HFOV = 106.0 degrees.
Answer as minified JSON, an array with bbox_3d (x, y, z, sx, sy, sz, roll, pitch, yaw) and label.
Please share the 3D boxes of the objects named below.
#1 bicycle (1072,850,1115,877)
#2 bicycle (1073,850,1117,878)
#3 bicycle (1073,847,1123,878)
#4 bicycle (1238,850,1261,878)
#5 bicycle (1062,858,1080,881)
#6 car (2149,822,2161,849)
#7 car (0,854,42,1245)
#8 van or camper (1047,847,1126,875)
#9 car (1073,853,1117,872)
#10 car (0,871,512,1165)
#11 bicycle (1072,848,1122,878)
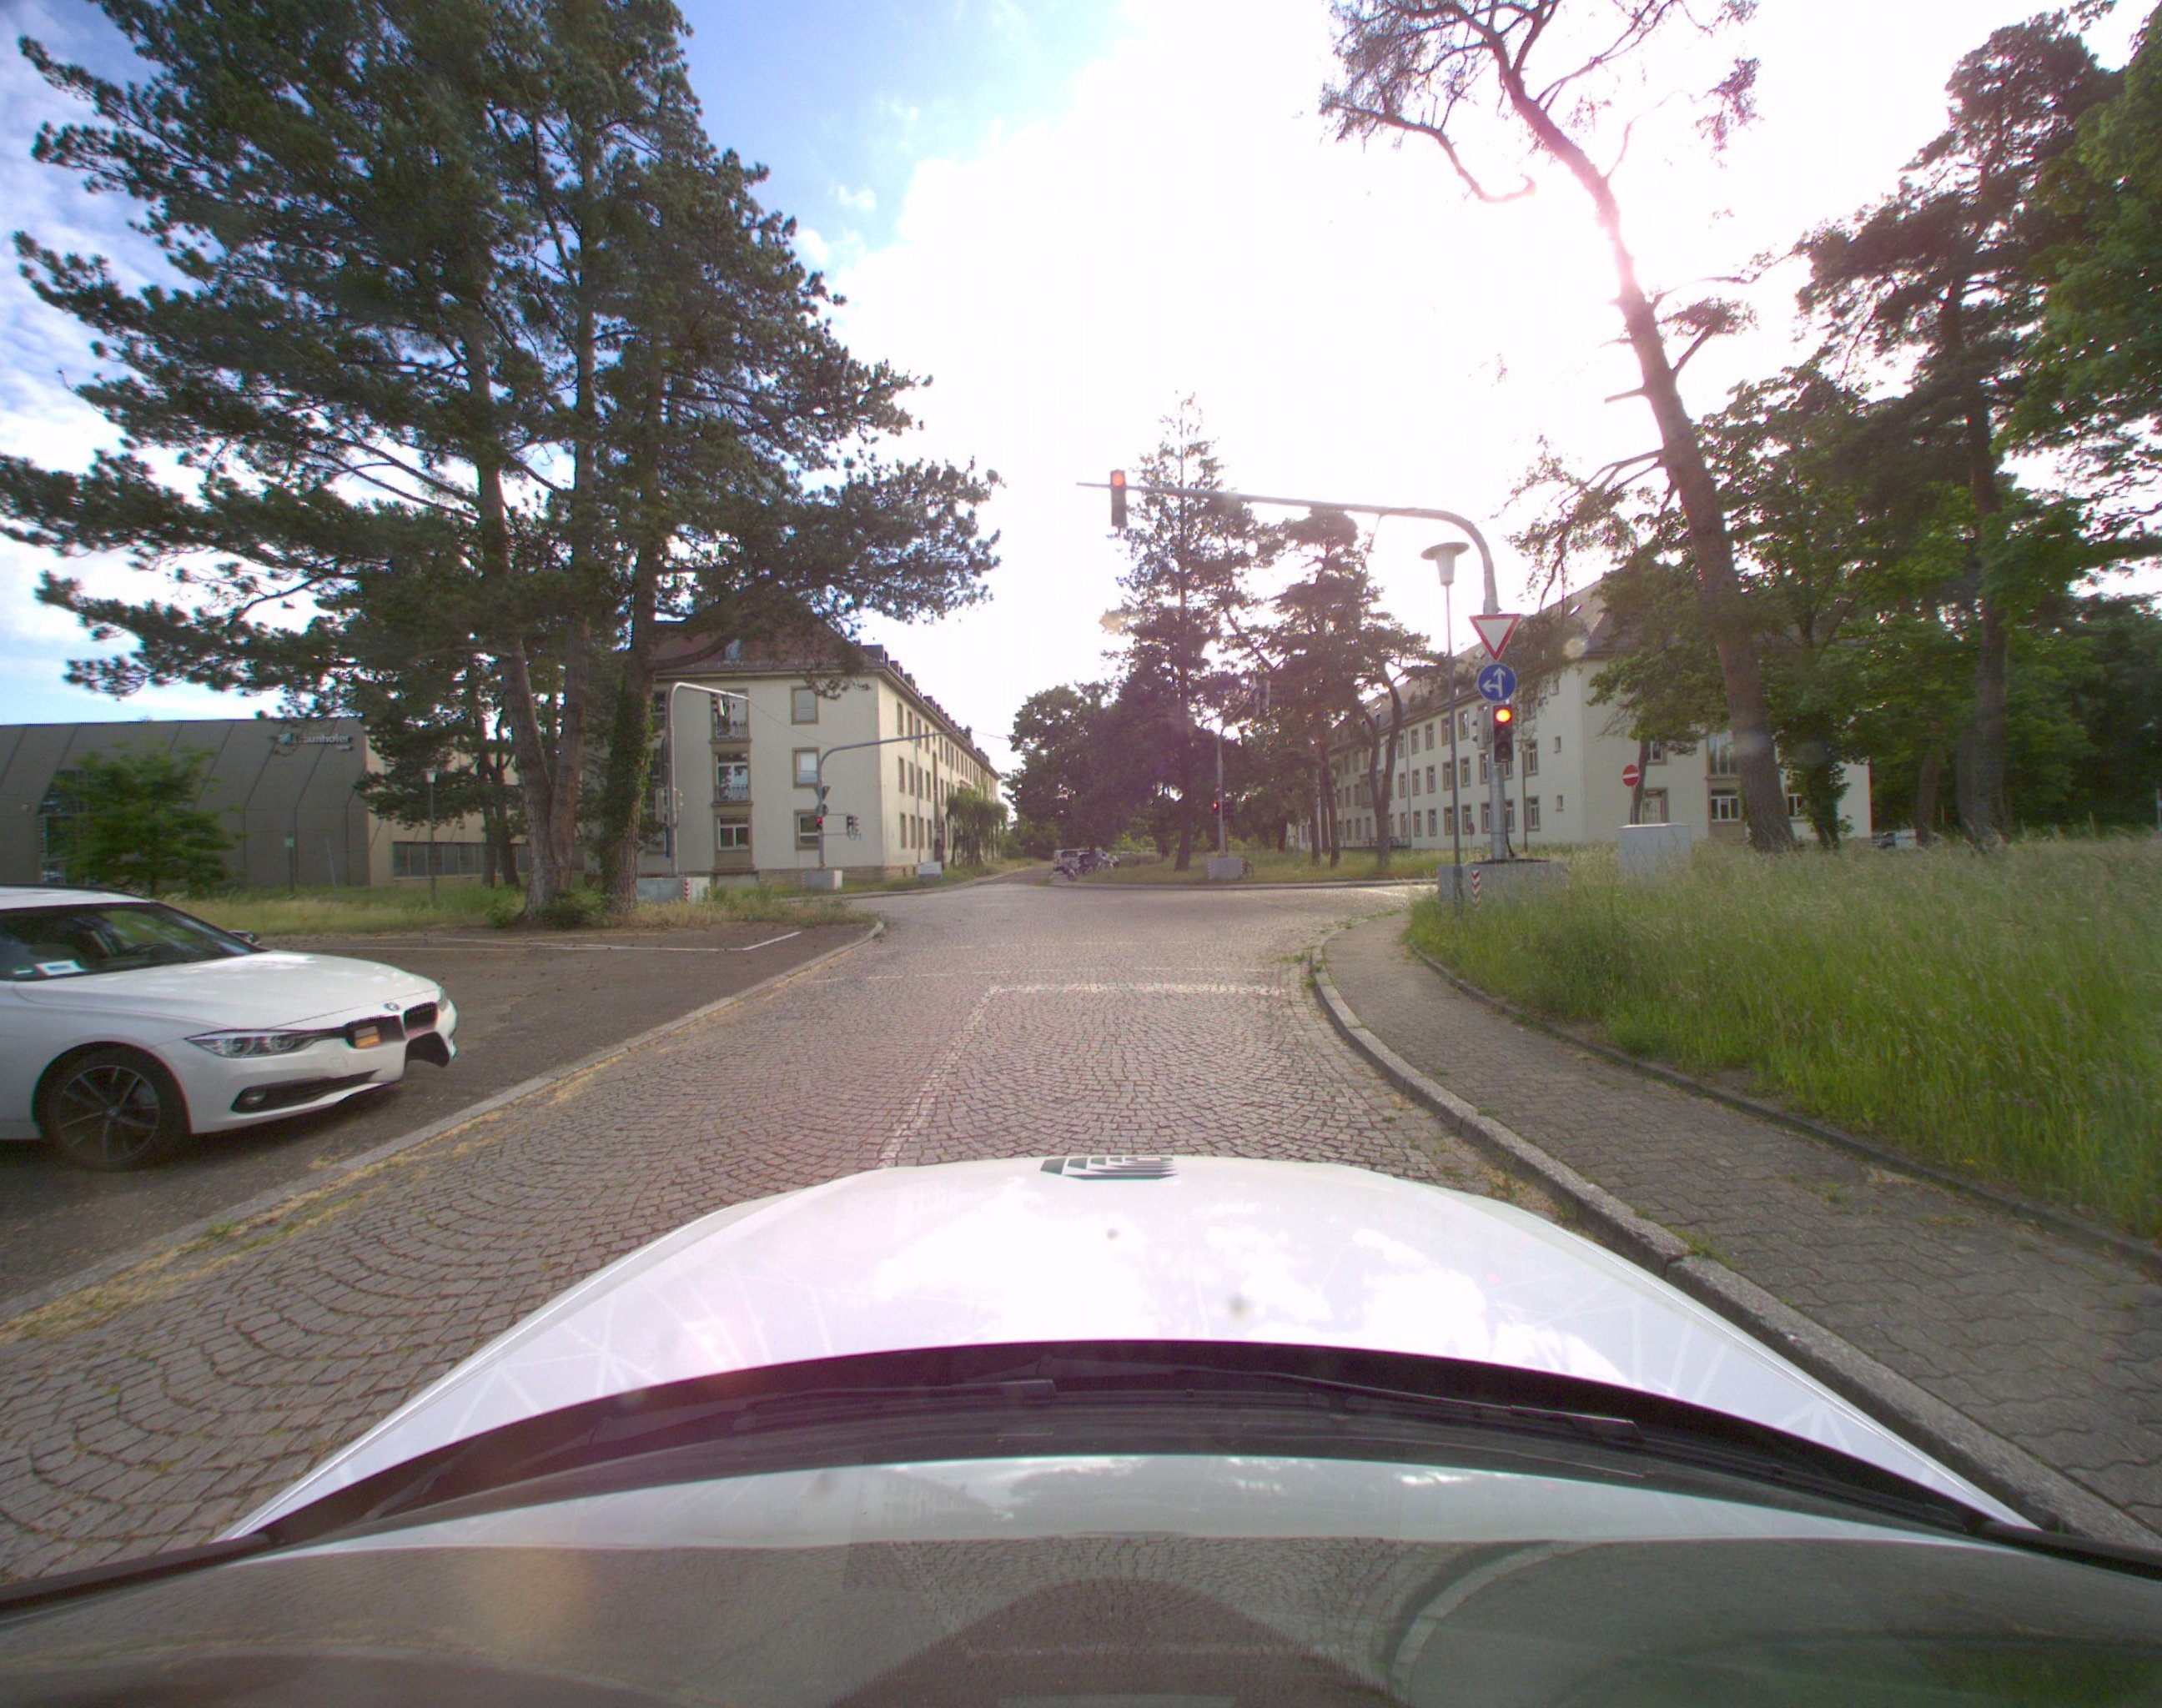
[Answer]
[{"bbox_3d":[0.805,0.615,53.210,2.766,1.694,1.120,0,0,1],"label":"bicycle"},{"bbox_3d":[0.890,0.627,51.873,2.763,1.694,1.121,0,0,3],"label":"bicycle"},{"bbox_3d":[0.973,0.499,47.116,2.772,1.694,1.118,-2,0,-6],"label":"bicycle"},{"bbox_3d":[7.316,0.411,35.400,0.720,1.169,2.741,0,0,6],"label":"bicycle"},{"bbox_3d":[-0.511,0.776,42.817,0.723,1.107,2.462,-6,0,1],"label":"bicycle"},{"bbox_3d":[57.044,-0.935,41.236,3.974,1.398,1.563,0,0,-1],"label":"car"},{"bbox_3d":[-6.313,0.790,2.487,3.823,1.607,1.733,1,0,-3],"label":"car"},{"bbox_3d":[0.417,0.538,65.077,6.041,1.948,1.990,-2,0,-14],"label":"van or camper"},{"bbox_3d":[1.051,0.636,61.508,3.134,1.354,1.616,-2,0,-6],"label":"car"},{"bbox_3d":[-6.484,0.869,5.055,4.469,1.442,1.828,1,0,-4],"label":"car"},{"bbox_3d":[0.947,0.527,48.310,2.774,1.694,1.117,-2,0,-8],"label":"bicycle"}]
